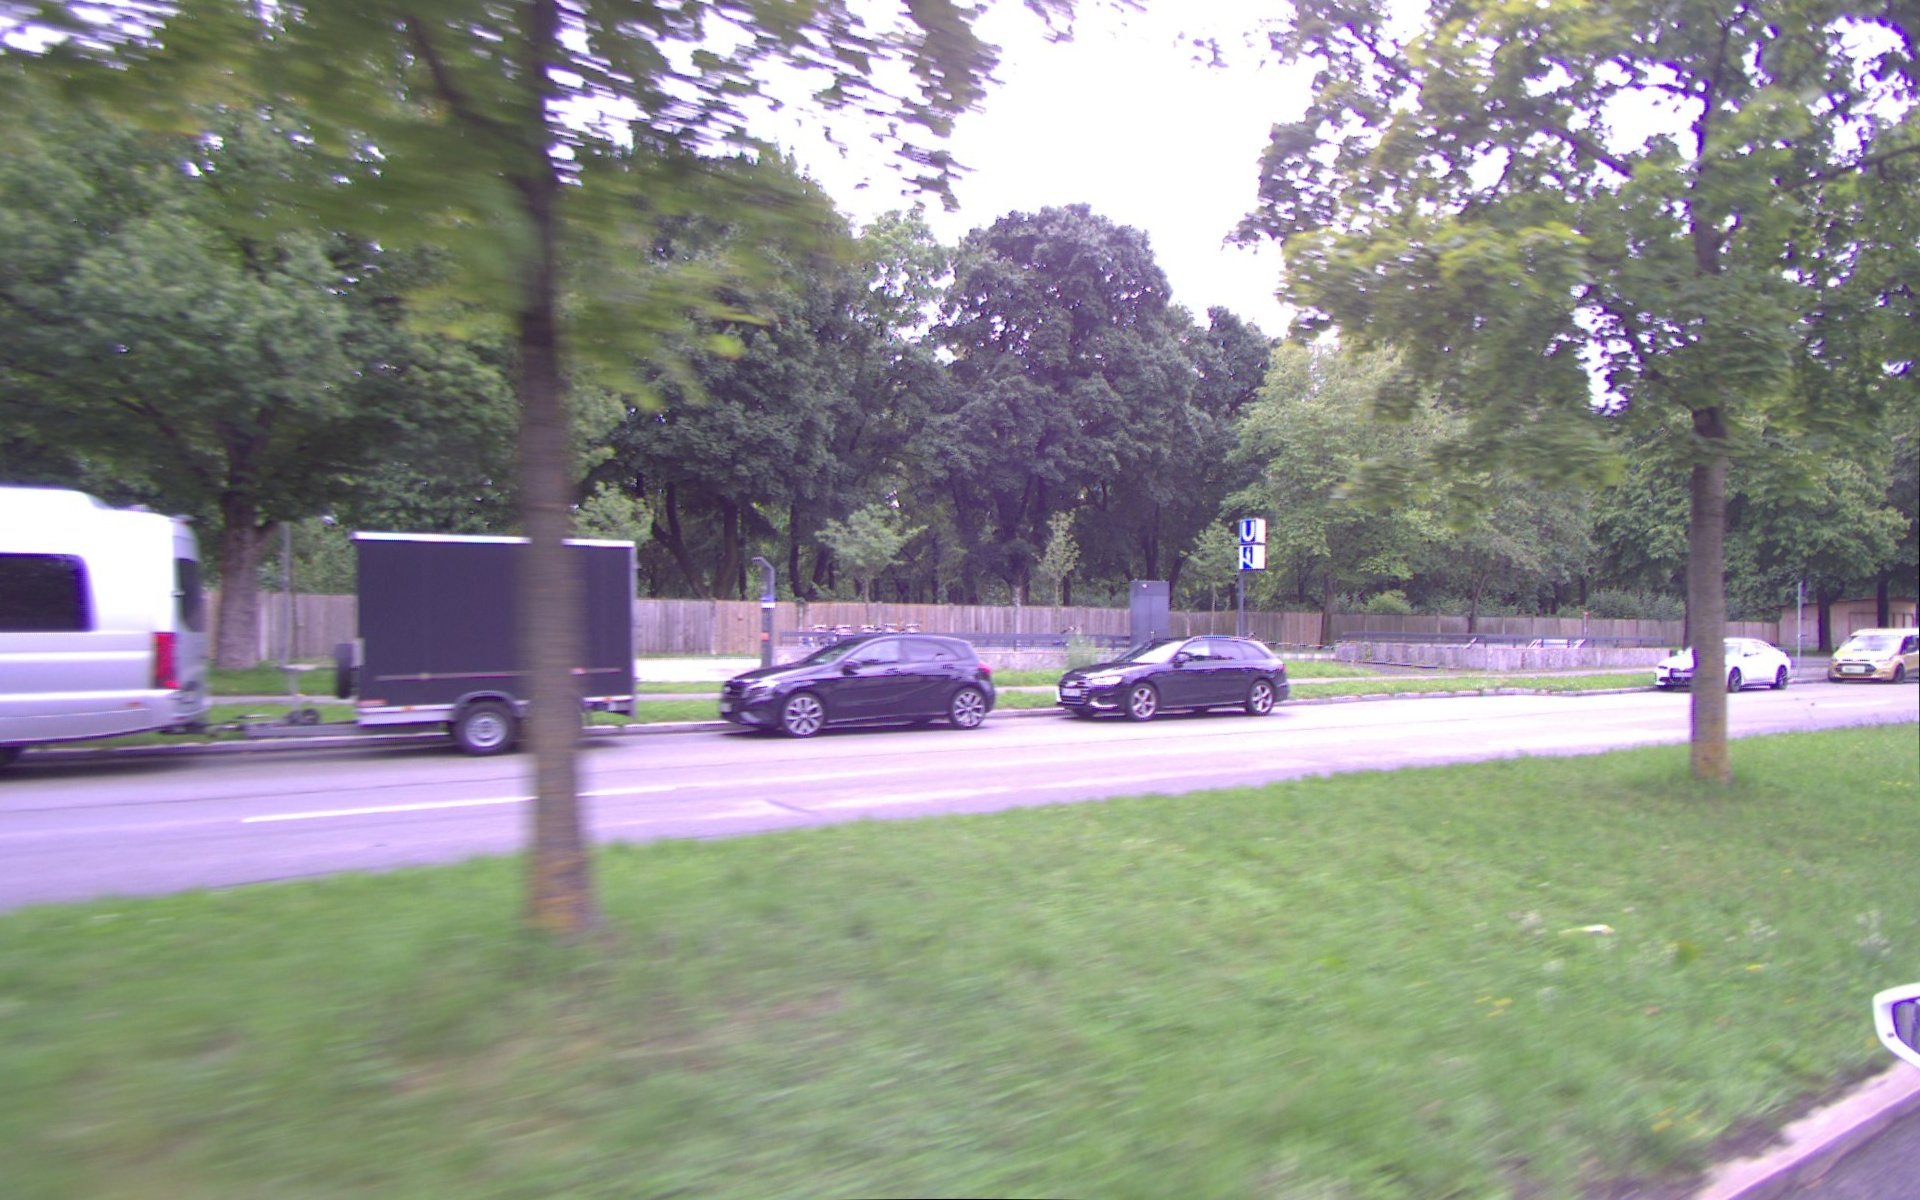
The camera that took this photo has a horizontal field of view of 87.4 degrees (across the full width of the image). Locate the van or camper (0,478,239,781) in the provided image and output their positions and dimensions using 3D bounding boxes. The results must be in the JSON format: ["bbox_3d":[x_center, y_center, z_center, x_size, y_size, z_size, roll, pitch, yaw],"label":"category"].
[{"bbox_3d":[-11.463,0.269,9.358,7.456,2.875,2.026,1,-2,-30],"label":"van or camper"}]

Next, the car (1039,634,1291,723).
[{"bbox_3d":[3.733,1.343,18.126,4.378,1.444,1.792,1,-2,-30],"label":"car"}]

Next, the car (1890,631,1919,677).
[{"bbox_3d":[36.525,1.997,37.335,4.206,1.667,1.729,1,-2,-30],"label":"car"}]

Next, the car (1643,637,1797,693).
[{"bbox_3d":[21.911,1.819,28.917,4.818,1.492,1.848,1,-2,-30],"label":"car"}]

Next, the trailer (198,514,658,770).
[{"bbox_3d":[-6.274,0.509,12.330,4.603,2.624,2.008,1,-2,-30],"label":"trailer"}]

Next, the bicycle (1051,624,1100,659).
[{"bbox_3d":[3.365,1.217,29.500,0.427,0.942,1.811,1,0,-29],"label":"bicycle"}]

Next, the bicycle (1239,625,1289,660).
[{"bbox_3d":[9.994,1.387,32.981,1.803,1.115,0.429,1,0,-29],"label":"bicycle"}]

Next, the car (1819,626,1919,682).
[{"bbox_3d":[31.190,1.794,33.881,4.758,1.806,1.807,1,-2,-29],"label":"car"}]

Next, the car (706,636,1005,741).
[{"bbox_3d":[-1.554,1.257,15.279,4.187,1.402,1.792,1,-2,-30],"label":"car"}]
